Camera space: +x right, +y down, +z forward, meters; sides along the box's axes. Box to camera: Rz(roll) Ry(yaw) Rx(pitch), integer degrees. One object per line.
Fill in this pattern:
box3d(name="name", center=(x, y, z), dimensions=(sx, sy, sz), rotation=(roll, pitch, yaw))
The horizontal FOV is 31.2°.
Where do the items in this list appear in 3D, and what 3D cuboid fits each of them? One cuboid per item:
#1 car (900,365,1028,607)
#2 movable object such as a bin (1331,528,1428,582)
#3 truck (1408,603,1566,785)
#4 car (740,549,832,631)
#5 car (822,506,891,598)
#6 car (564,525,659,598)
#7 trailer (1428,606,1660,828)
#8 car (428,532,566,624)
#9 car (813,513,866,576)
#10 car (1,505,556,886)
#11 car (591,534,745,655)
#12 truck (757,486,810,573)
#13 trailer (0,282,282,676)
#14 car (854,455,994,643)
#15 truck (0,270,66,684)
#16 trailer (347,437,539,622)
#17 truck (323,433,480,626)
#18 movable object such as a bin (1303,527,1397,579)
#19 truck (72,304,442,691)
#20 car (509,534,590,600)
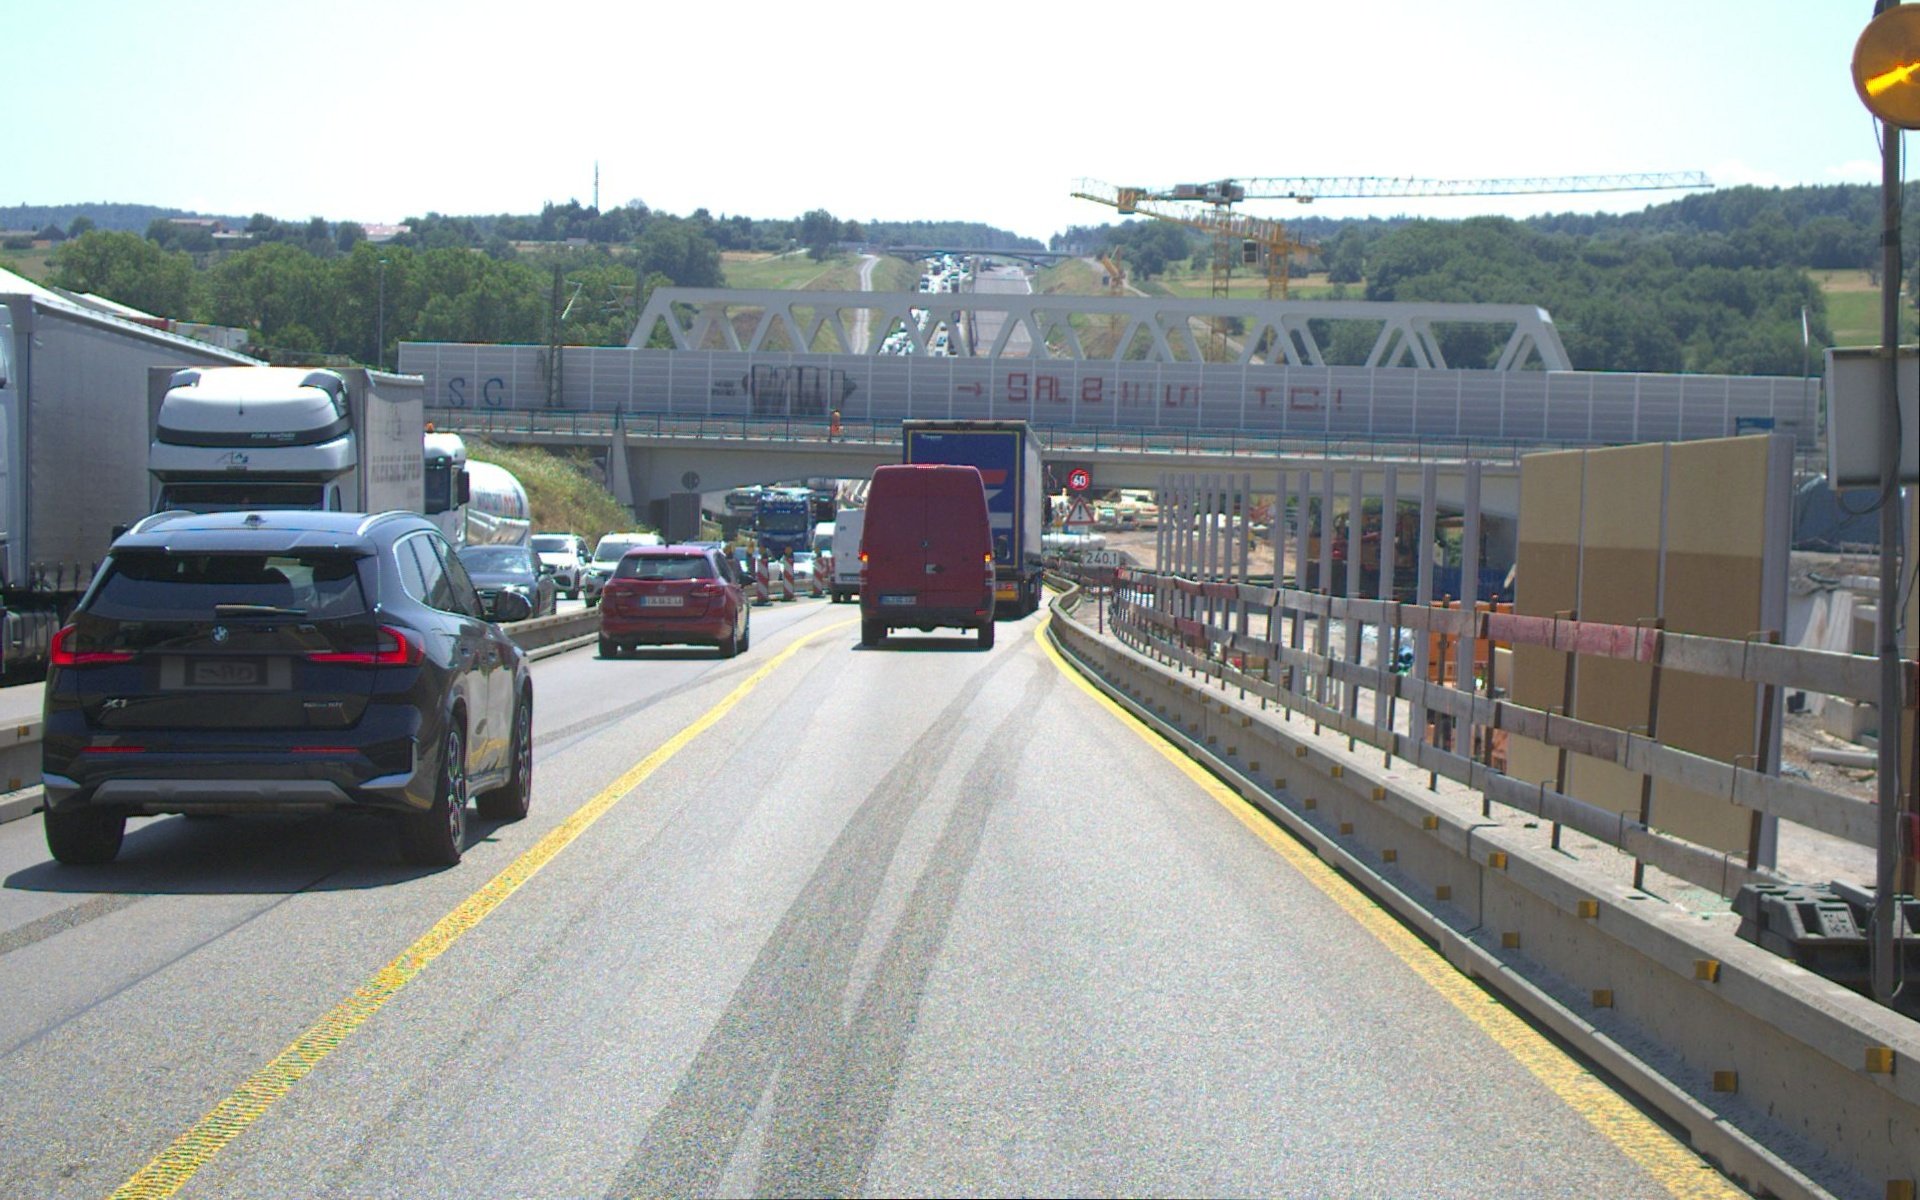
box3d(name="car", center=(0.019, -2.487, 76.631), dimensions=(2.621, 5.015, 10.397), rotation=(0, 1, -1))
box3d(name="movable object such as a bin", center=(22.846, -2.472, 187.431), dimensions=(5.147, 2.798, 2.142), rotation=(1, 1, 5))
box3d(name="truck", center=(12.127, 2.088, 79.523), dimensions=(2.758, 3.873, 5.882), rotation=(1, 1, 1))
box3d(name="car", center=(-3.709, -0.243, 73.738), dimensions=(1.839, 1.648, 4.165), rotation=(0, 1, -1))
box3d(name="car", center=(-2.791, -1.328, 93.224), dimensions=(1.776, 2.433, 4.206), rotation=(0, 1, -1))
box3d(name="car", center=(-8.487, -0.958, 83.991), dimensions=(1.880, 1.739, 4.483), rotation=(0, 1, 0))
box3d(name="trailer", center=(12.004, 2.244, 71.976), dimensions=(2.758, 3.873, 13.049), rotation=(1, 1, 1))
box3d(name="car", center=(-7.803, -0.390, 58.259), dimensions=(1.779, 1.453, 4.721), rotation=(1, 1, -1))
box3d(name="car", center=(-5.096, -2.396, 146.627), dimensions=(1.993, 2.598, 7.011), rotation=(1, 1, 0))
box3d(name="car", center=(-3.163, 0.358, 16.870), dimensions=(1.879, 1.612, 4.499), rotation=(0, 1, -1))
box3d(name="car", center=(-3.838, -0.109, 45.772), dimensions=(1.776, 1.512, 4.206), rotation=(0, 1, -1))
box3d(name="truck", center=(-8.272, -3.310, 161.744), dimensions=(2.357, 4.001, 4.001), rotation=(1, 1, -2))
box3d(name="trailer", center=(-10.880, -1.404, 41.915), dimensions=(2.698, 4.010, 13.704), rotation=(1, 1, -1))
box3d(name="car", center=(-0.551, -0.779, 51.473), dimensions=(1.988, 2.681, 4.624), rotation=(0, 1, -1))
box3d(name="truck", center=(-10.732, -1.233, 34.115), dimensions=(2.698, 4.036, 3.955), rotation=(1, 1, -1))
box3d(name="trailer", center=(-11.431, -1.580, 77.129), dimensions=(2.590, 3.788, 11.918), rotation=(1, 1, -1))
box3d(name="truck", center=(-11.389, -1.435, 70.385), dimensions=(2.590, 3.788, 3.767), rotation=(1, 1, -1))
box3d(name="movable object such as a bin", center=(21.978, -2.676, 194.024), dimensions=(5.147, 2.798, 2.142), rotation=(1, 1, 5))
box3d(name="truck", center=(-7.453, -1.078, 37.422), dimensions=(2.589, 3.745, 7.359), rotation=(1, 1, -1))
box3d(name="car", center=(-11.282, -0.930, 94.627), dimensions=(1.790, 1.757, 4.538), rotation=(0, 1, -1))
